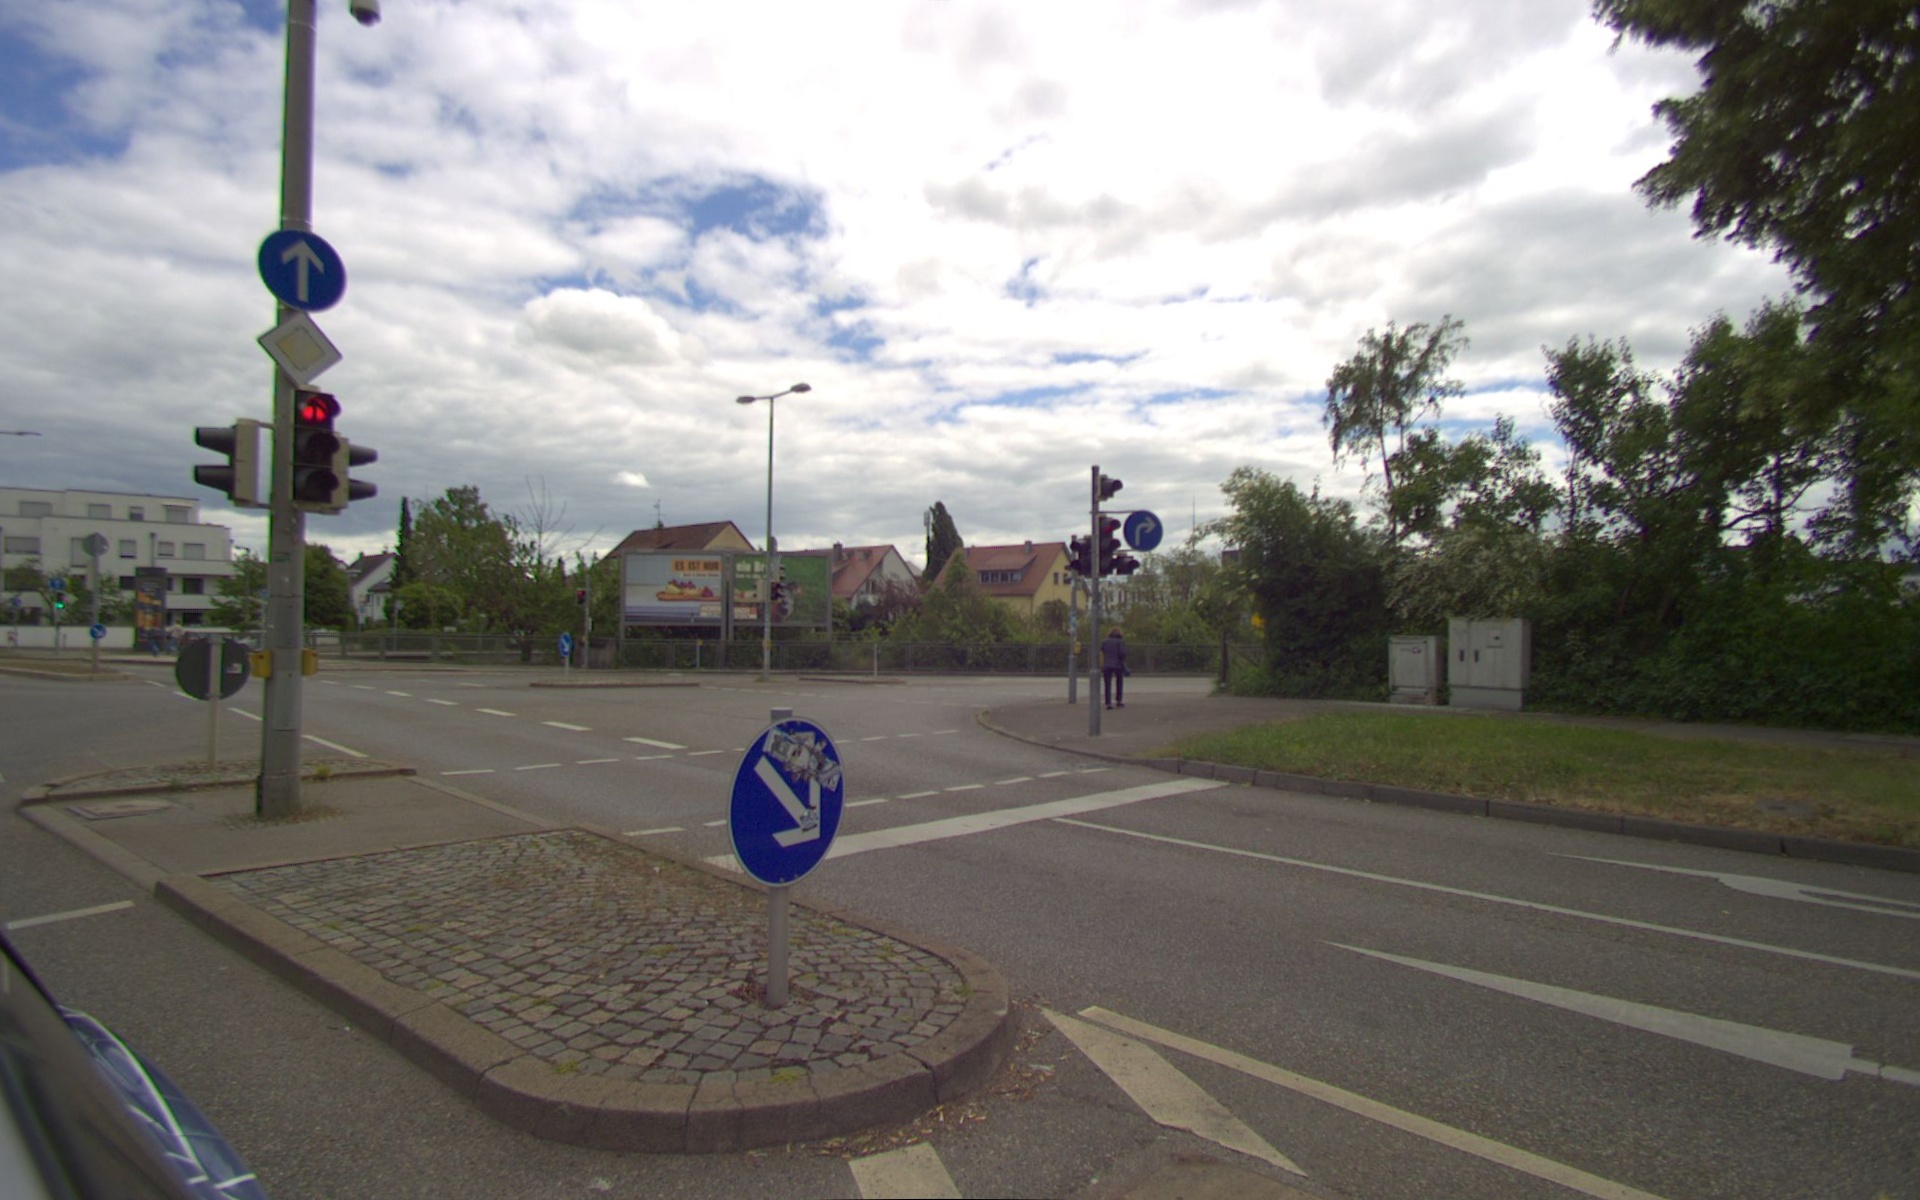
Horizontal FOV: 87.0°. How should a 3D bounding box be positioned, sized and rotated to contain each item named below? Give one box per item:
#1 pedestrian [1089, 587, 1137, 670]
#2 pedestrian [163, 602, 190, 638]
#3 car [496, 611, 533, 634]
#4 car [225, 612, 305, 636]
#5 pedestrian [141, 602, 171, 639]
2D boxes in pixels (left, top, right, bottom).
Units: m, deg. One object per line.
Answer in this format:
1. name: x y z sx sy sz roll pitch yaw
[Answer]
1. pedestrian: 2.758 0.498 18.194 0.598 1.418 0.768 0 3 30
2. pedestrian: -35.985 0.918 46.506 0.828 1.645 0.652 0 1 26
3. car: -35.693 1.791 81.162 1.758 1.592 4.009 -3 2 -10
4. car: -46.930 1.635 68.412 4.061 1.547 1.652 1 -2 -13
5. pedestrian: -36.375 0.919 45.800 1.065 1.645 0.652 0 1 26
